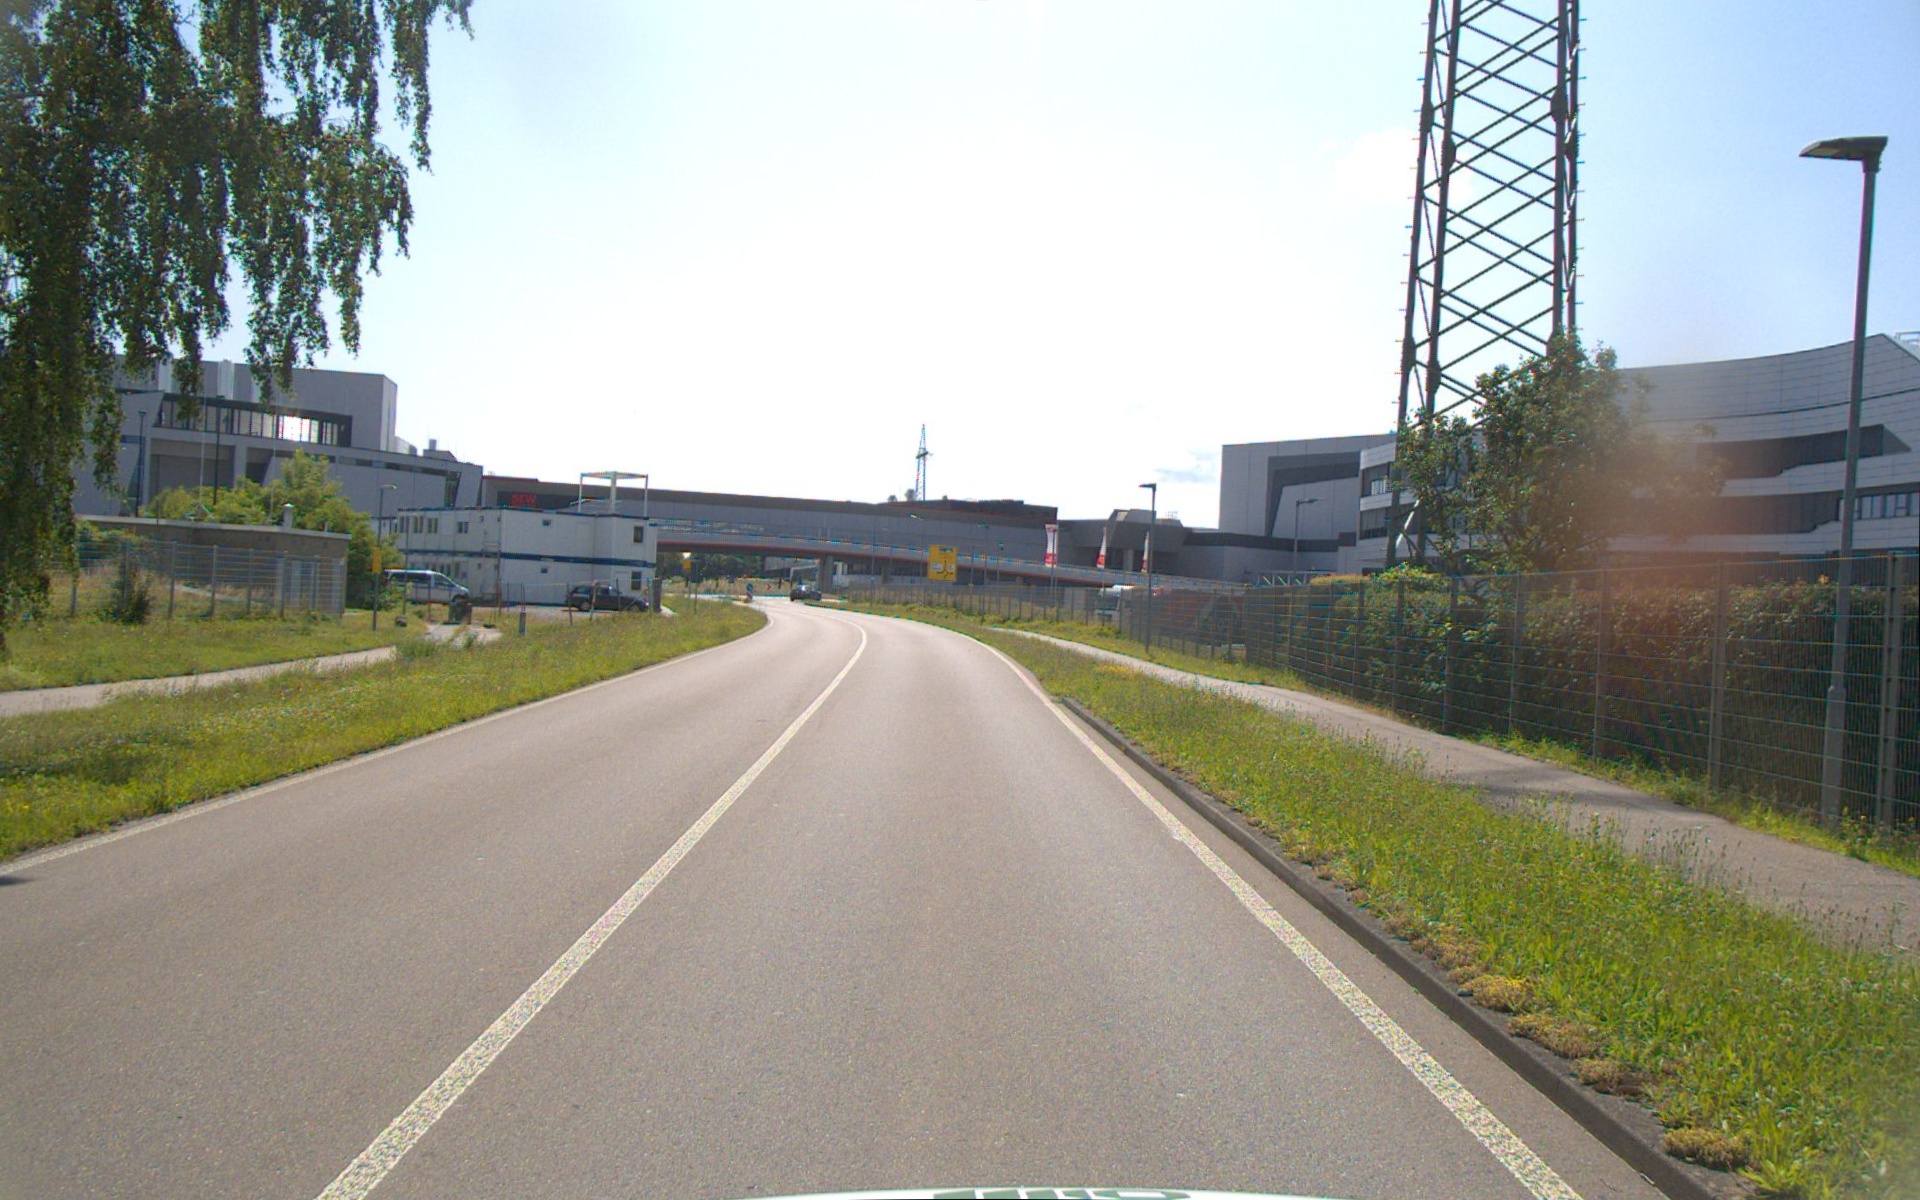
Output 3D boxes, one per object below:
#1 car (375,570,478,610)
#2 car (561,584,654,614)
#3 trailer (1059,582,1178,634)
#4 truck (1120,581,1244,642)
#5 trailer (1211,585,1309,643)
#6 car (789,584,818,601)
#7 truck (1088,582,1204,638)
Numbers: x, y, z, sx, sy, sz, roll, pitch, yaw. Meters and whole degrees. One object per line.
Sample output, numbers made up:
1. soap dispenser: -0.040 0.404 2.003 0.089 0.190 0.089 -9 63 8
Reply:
1. car: -29.388 -0.546 91.224 4.975 1.899 1.971 3 0 -41
2. car: -19.909 -0.076 93.441 4.897 1.441 1.988 3 0 -21
3. trailer: 14.831 0.836 153.592 2.721 4.515 13.959 1 -1 45
4. truck: 16.499 0.900 121.952 10.891 4.331 2.979 2 -1 -45
5. trailer: 23.432 1.128 128.785 8.647 4.371 2.980 2 -1 -44
6. car: -14.776 -0.693 156.407 1.951 1.571 4.003 1 0 6
7. truck: 14.847 0.848 130.937 10.888 4.245 2.777 2 -1 -44
